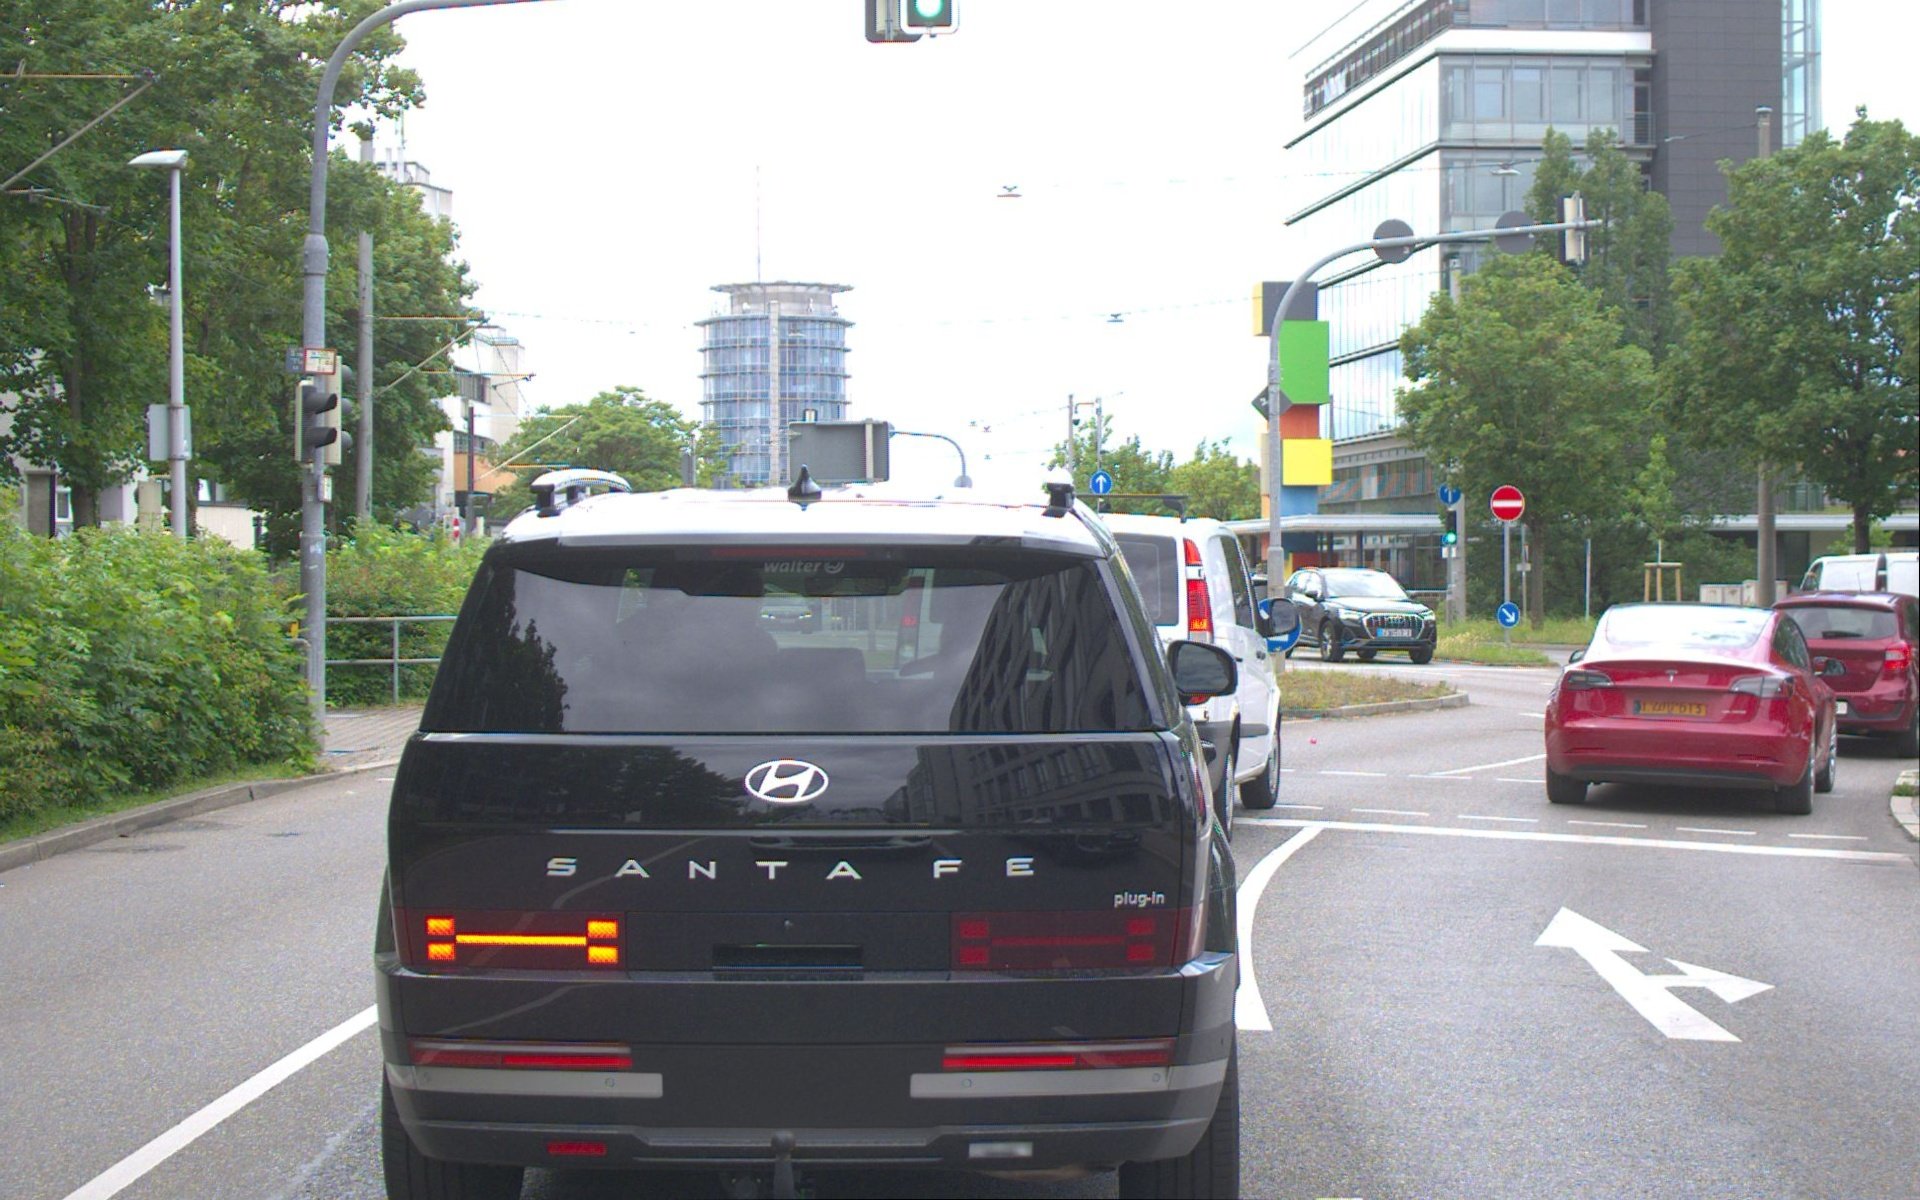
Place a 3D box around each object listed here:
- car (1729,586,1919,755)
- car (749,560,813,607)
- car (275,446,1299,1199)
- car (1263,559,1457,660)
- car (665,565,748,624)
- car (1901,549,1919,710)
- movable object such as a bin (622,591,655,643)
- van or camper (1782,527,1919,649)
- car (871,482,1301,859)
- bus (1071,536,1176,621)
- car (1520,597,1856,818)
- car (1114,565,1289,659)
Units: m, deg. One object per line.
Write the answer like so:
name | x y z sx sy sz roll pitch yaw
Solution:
car | 8.524 0.624 32.789 1.746 1.476 3.714 1 1 21
car | -5.843 -0.549 111.960 1.798 1.450 4.613 2 1 -6
car | -0.357 0.573 8.743 1.902 1.725 4.446 2 1 -1
car | 6.797 0.136 58.891 1.887 1.559 4.397 1 1 -13
car | -7.165 -0.168 96.906 1.782 1.532 4.397 1 1 -11
car | 12.786 0.370 41.434 1.905 1.853 4.702 2 1 26
movable object such as a bin | -6.331 0.326 67.651 0.563 1.009 0.838 1 0 -10
van or camper | 15.207 -0.226 56.635 1.993 1.911 4.410 1 1 -4
car | 0.889 0.355 20.700 1.903 1.962 4.634 2 1 10
bus | 6.230 -0.801 132.152 2.966 3.106 9.245 -1 0 -4
car | 5.435 0.713 25.263 1.875 1.413 4.438 2 1 19
car | 3.997 0.176 57.577 1.782 1.421 4.397 1 1 -11
